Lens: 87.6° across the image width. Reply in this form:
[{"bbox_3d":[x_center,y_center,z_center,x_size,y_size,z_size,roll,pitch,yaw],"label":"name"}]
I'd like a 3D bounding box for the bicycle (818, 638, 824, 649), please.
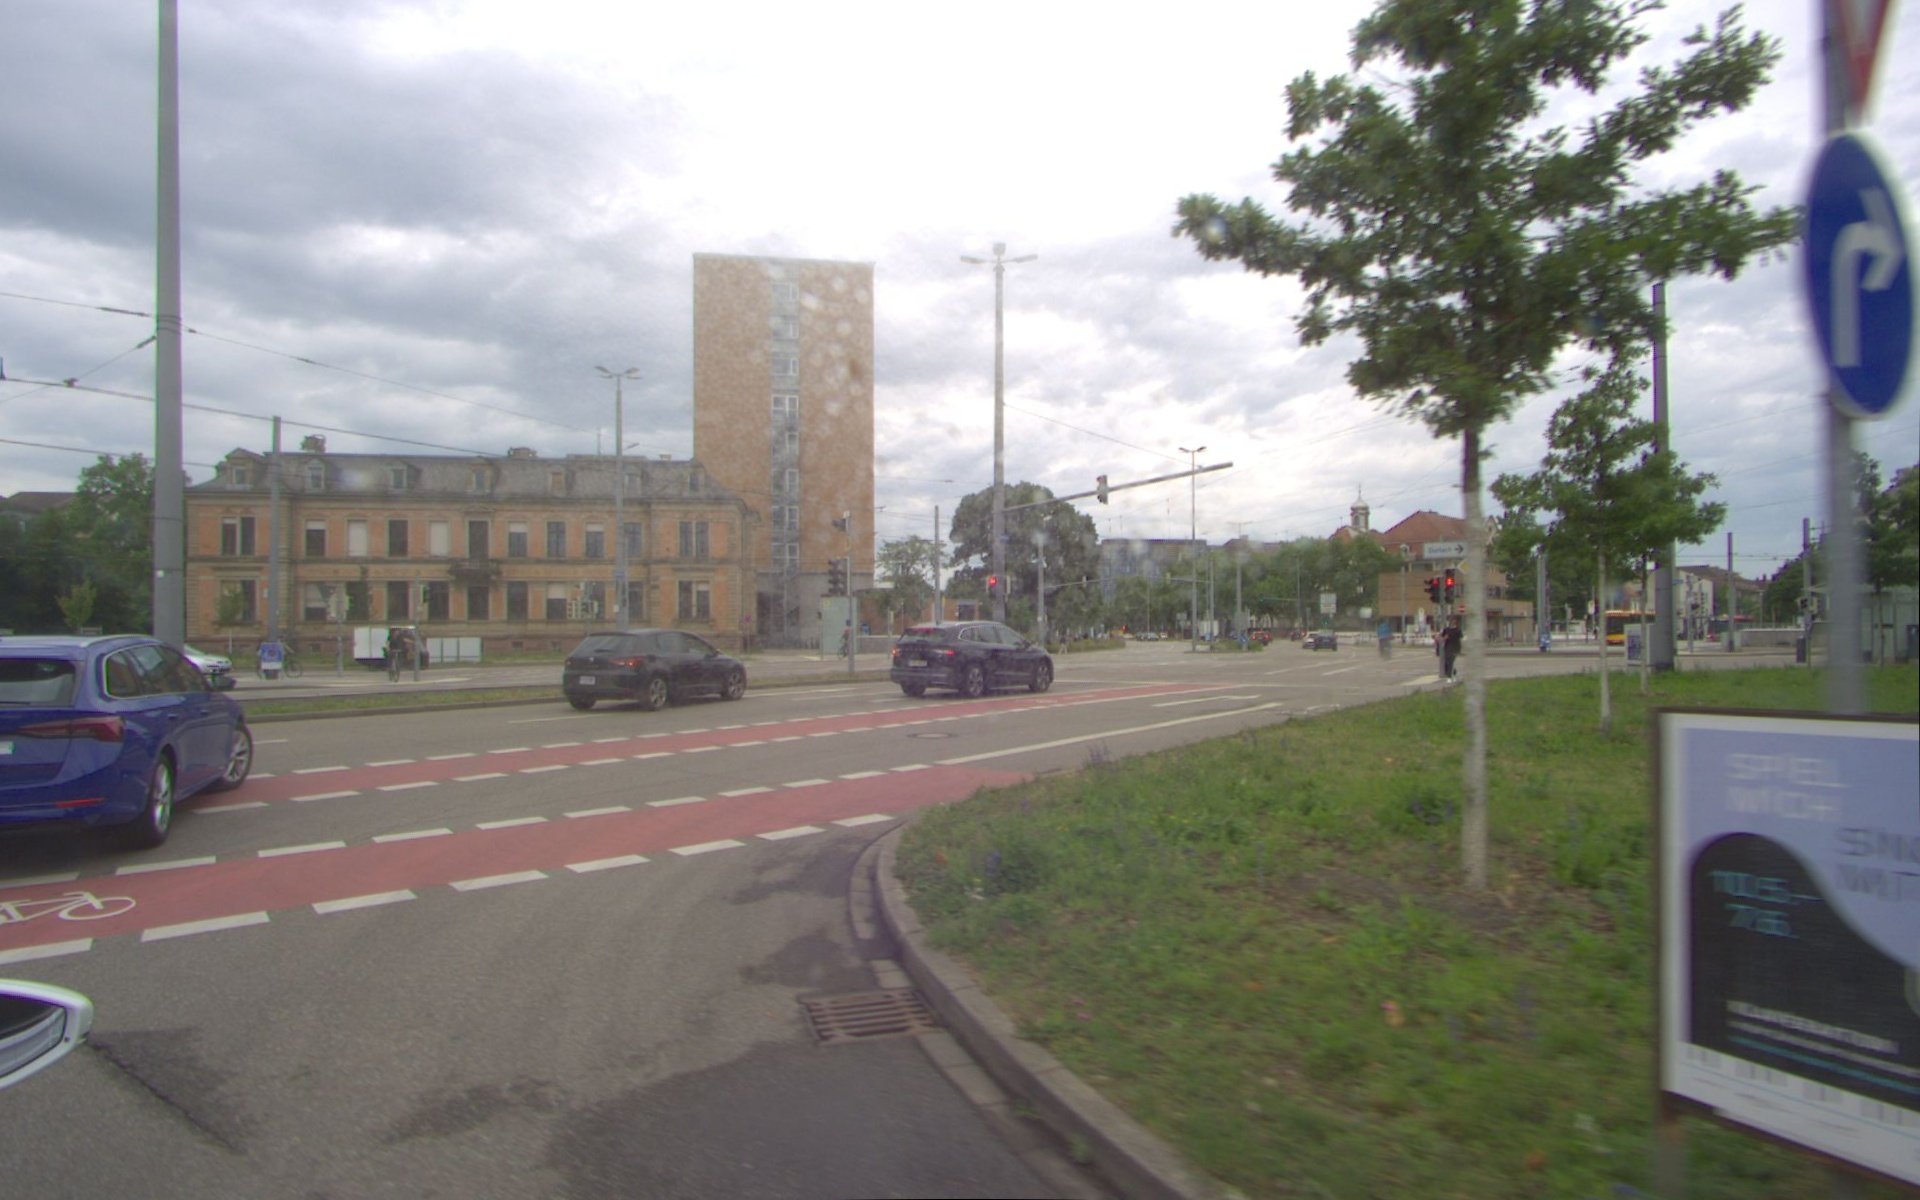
[{"bbox_3d":[-13.550,4.216,97.538,0.473,1.062,1.428,0,-2,-6],"label":"bicycle"}]

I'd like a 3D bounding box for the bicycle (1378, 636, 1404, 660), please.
[{"bbox_3d":[21.673,2.406,50.416,0.878,1.193,2.300,0,-1,15],"label":"bicycle"}]

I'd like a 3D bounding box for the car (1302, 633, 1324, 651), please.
[{"bbox_3d":[31.076,3.682,88.209,1.750,1.483,3.993,0,-1,19],"label":"car"}]

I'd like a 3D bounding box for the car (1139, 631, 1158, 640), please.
[{"bbox_3d":[32.438,6.149,172.446,1.749,1.482,3.998,0,-2,-12],"label":"car"}]

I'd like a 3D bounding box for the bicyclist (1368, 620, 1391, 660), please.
[{"bbox_3d":[20.057,1.916,47.862,0.862,1.875,1.042,-1,-2,32],"label":"bicyclist"}]

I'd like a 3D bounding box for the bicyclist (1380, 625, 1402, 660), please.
[{"bbox_3d":[21.609,2.129,50.181,0.869,1.754,0.893,0,-1,15],"label":"bicyclist"}]

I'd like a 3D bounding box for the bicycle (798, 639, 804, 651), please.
[{"bbox_3d":[-15.432,4.357,97.228,0.561,1.120,1.428,0,-1,-6],"label":"bicycle"}]

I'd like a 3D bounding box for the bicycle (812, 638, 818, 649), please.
[{"bbox_3d":[-14.126,4.234,97.415,0.500,1.062,1.428,0,-2,-6],"label":"bicycle"}]

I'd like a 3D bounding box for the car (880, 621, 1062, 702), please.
[{"bbox_3d":[0.359,1.286,22.231,1.760,1.617,4.480,-1,-2,37],"label":"car"}]

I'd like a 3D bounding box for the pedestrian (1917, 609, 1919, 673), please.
[{"bbox_3d":[29.885,1.258,30.337,0.998,1.955,0.889,0,-1,-12],"label":"pedestrian"}]

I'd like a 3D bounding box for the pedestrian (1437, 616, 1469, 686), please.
[{"bbox_3d":[13.576,1.394,27.561,0.531,1.867,0.979,-1,-1,41],"label":"pedestrian"}]

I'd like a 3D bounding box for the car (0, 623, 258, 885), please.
[{"bbox_3d":[-6.799,0.966,7.627,1.759,1.507,4.448,1,-2,-27],"label":"car"}]

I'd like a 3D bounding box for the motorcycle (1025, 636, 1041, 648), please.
[{"bbox_3d":[7.357,4.221,100.571,1.726,1.125,0.507,1,-2,-41],"label":"motorcycle"}]

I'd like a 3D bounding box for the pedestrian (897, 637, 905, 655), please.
[{"bbox_3d":[-4.512,3.478,76.243,0.563,1.353,0.498,0,-1,-14],"label":"pedestrian"}]

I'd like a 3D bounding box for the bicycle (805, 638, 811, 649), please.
[{"bbox_3d":[-14.777,4.230,97.340,0.561,1.120,1.428,0,-1,-6],"label":"bicycle"}]

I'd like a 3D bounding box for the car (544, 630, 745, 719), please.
[{"bbox_3d":[-5.720,1.287,18.637,1.679,1.467,3.807,0,-2,18],"label":"car"}]

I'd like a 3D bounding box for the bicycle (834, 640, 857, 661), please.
[{"bbox_3d":[-6.983,3.066,61.201,0.811,1.223,2.234,-1,-2,11],"label":"bicycle"}]

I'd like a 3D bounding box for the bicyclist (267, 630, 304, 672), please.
[{"bbox_3d":[-27.030,2.040,40.136,0.900,1.643,0.855,0,-2,-4],"label":"bicyclist"}]

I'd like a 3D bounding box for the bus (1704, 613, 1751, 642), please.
[{"bbox_3d":[91.421,3.302,119.163,10.884,3.325,2.638,2,-2,-43],"label":"bus"}]

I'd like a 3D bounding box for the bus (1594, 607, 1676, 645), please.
[{"bbox_3d":[60.205,2.362,89.115,11.409,3.163,2.946,1,-2,-40],"label":"bus"}]

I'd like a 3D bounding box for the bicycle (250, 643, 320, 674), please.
[{"bbox_3d":[-27.034,2.339,40.125,2.155,1.223,0.858,0,-2,-4],"label":"bicycle"}]

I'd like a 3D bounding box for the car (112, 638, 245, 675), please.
[{"bbox_3d":[-32.514,2.322,41.746,4.080,1.472,1.762,0,-1,-4],"label":"car"}]

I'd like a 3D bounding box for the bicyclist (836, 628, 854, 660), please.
[{"bbox_3d":[-7.010,2.702,61.116,0.816,1.916,1.049,-2,-1,11],"label":"bicyclist"}]

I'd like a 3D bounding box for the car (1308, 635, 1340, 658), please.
[{"bbox_3d":[27.861,3.570,76.771,1.963,1.704,3.999,0,-3,15],"label":"car"}]

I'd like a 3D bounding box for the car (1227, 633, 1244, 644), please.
[{"bbox_3d":[41.321,5.773,150.435,1.747,1.483,4.001,0,-2,4],"label":"car"}]

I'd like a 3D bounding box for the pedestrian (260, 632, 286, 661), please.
[{"bbox_3d":[-41.778,2.815,60.907,1.107,1.786,0.757,0,-1,-16],"label":"pedestrian"}]

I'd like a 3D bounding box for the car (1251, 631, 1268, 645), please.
[{"bbox_3d":[33.604,4.254,112.373,1.749,1.483,3.997,0,-2,14],"label":"car"}]

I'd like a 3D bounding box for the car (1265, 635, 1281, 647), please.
[{"bbox_3d":[39.786,5.247,127.228,1.749,1.483,3.997,0,-2,14],"label":"car"}]

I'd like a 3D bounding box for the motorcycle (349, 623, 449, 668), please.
[{"bbox_3d":[-25.852,2.072,46.253,3.616,2.039,1.696,0,-1,-5],"label":"motorcycle"}]

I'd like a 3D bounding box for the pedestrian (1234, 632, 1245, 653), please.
[{"bbox_3d":[20.649,3.136,73.902,0.718,1.561,0.416,-1,-1,24],"label":"pedestrian"}]

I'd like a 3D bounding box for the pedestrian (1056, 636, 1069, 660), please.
[{"bbox_3d":[8.423,3.941,82.342,1.011,1.959,0.701,-1,-1,11],"label":"pedestrian"}]

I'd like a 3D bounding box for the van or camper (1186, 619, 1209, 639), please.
[{"bbox_3d":[37.132,4.527,156.750,2.349,3.164,5.506,0,-2,1],"label":"van or camper"}]

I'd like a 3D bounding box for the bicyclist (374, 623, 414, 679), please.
[{"bbox_3d":[-18.935,1.705,33.503,1.017,1.822,0.810,-1,0,38],"label":"bicyclist"}]

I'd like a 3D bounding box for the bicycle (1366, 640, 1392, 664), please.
[{"bbox_3d":[19.980,2.460,47.722,0.856,1.119,2.291,-1,-2,31],"label":"bicycle"}]

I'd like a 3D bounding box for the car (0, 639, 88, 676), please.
[{"bbox_3d":[-38.761,2.343,41.322,4.062,1.467,1.697,0,-1,1],"label":"car"}]

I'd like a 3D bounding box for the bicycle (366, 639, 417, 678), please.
[{"bbox_3d":[-19.104,1.967,33.634,1.976,1.258,0.810,-3,-2,39],"label":"bicycle"}]

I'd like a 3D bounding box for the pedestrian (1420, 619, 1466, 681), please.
[{"bbox_3d":[15.340,1.574,31.792,1.083,1.931,0.736,1,-1,-6],"label":"pedestrian"}]
